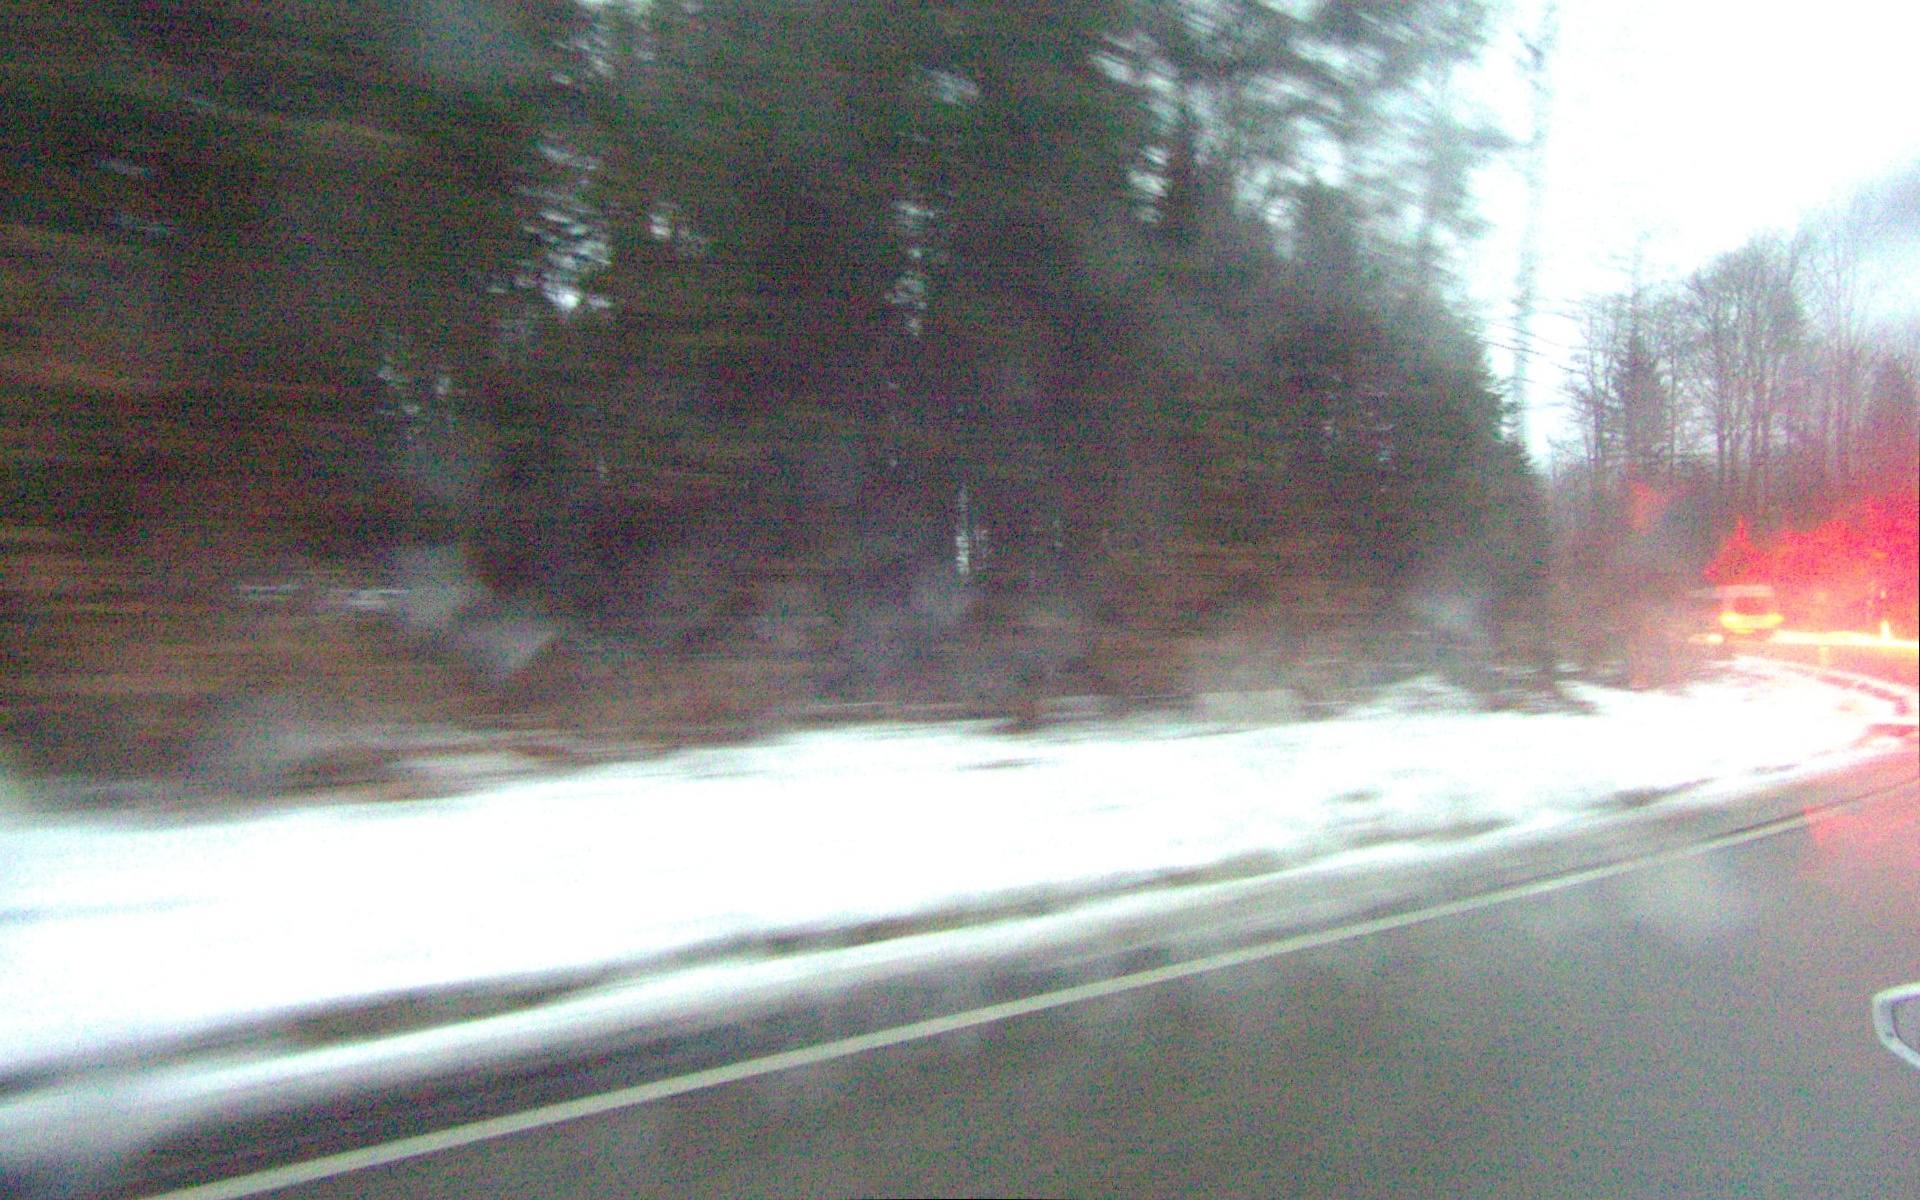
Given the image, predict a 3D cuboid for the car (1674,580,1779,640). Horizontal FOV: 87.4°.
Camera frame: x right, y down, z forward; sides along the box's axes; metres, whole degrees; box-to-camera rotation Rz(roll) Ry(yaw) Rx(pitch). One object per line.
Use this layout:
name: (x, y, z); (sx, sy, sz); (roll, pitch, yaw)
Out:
car: (36.289, 0.489, 47.744); (2.214, 2.680, 5.008); (-1, -1, 16)
